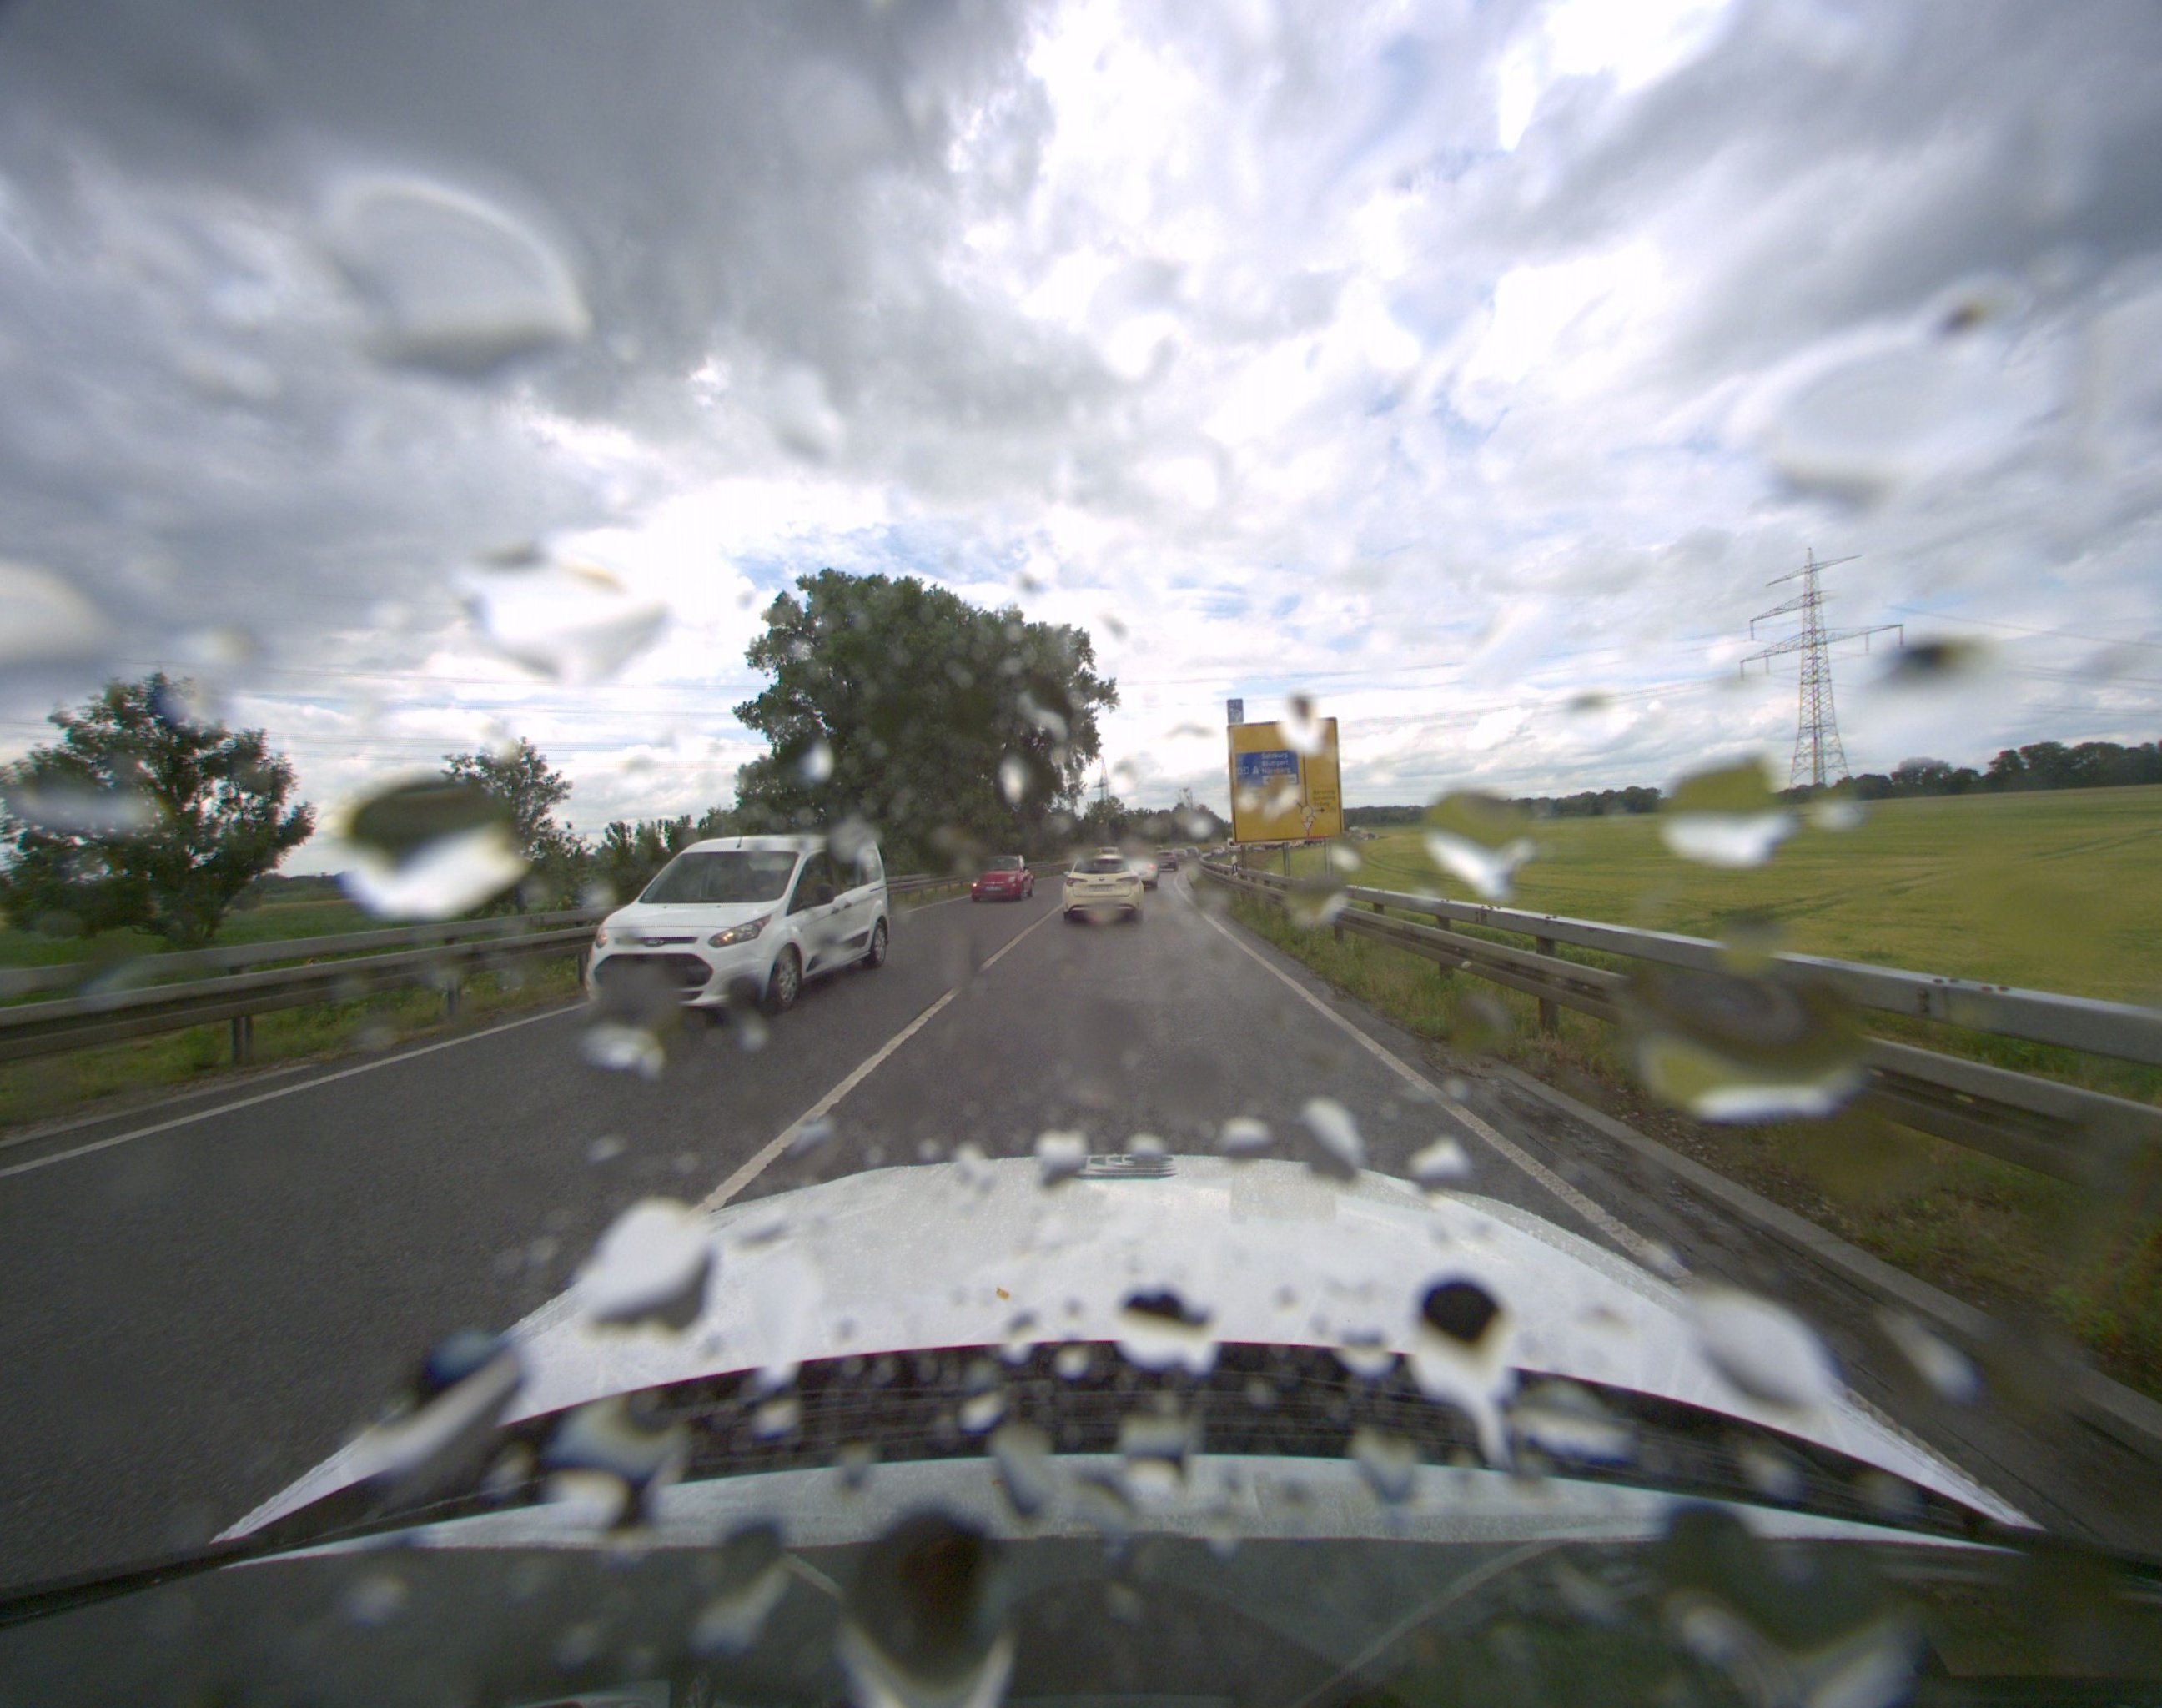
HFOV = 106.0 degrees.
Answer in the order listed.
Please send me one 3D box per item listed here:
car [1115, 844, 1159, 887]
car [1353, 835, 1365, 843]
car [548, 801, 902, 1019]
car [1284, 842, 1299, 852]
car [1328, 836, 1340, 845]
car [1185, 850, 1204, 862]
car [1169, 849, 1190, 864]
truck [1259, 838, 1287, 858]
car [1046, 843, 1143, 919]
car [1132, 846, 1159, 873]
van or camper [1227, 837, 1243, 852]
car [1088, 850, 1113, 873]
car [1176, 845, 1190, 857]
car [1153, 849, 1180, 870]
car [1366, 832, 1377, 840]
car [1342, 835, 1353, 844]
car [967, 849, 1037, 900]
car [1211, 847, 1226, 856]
[{"bbox_3d":[2.261,0.436,32.101,1.570,1.572,3.687,-1,0,6],"label":"car"},{"bbox_3d":[73.829,-3.914,216.154,1.974,2.014,4.025,-2,-1,35],"label":"car"},{"bbox_3d":[-3.646,0.478,9.445,1.853,1.891,4.494,-1,0,4],"label":"car"},{"bbox_3d":[44.848,-1.452,173.432,2.147,2.014,4.023,-1,-1,25],"label":"car"},{"bbox_3d":[61.218,-3.178,196.885,2.205,2.014,4.023,-1,-1,26],"label":"car"},{"bbox_3d":[13.531,0.253,97.055,1.470,1.309,3.494,-1,0,19],"label":"car"},{"bbox_3d":[10.057,0.279,83.007,1.648,1.409,3.919,-2,-1,14],"label":"car"},{"bbox_3d":[37.035,-1.140,156.978,3.110,3.562,7.568,-1,-1,30],"label":"truck"},{"bbox_3d":[0.442,0.566,19.035,1.897,1.537,4.168,-1,0,5],"label":"car"},{"bbox_3d":[3.704,0.306,46.781,1.499,1.437,3.359,-1,0,4],"label":"car"},{"bbox_3d":[24.600,-1.532,129.966,1.977,2.254,4.019,-1,-1,18],"label":"van or camper"},{"bbox_3d":[1.494,0.565,60.727,1.513,1.673,3.812,-1,-1,6],"label":"car"},{"bbox_3d":[15.192,-0.413,121.219,1.505,1.721,3.436,-1,-1,17],"label":"car"},{"bbox_3d":[6.343,0.399,59.926,1.655,1.464,3.487,-1,0,10],"label":"car"},{"bbox_3d":[83.966,-5.246,235.546,1.745,2.013,4.025,-1,1,41],"label":"car"},{"bbox_3d":[67.321,-3.677,205.447,1.975,2.014,4.023,-4,-2,26],"label":"car"},{"bbox_3d":[-2.543,0.621,27.137,1.602,1.486,4.005,-2,1,4],"label":"car"},{"bbox_3d":[19.512,-0.353,115.714,1.470,1.309,3.494,-1,0,19],"label":"car"}]
